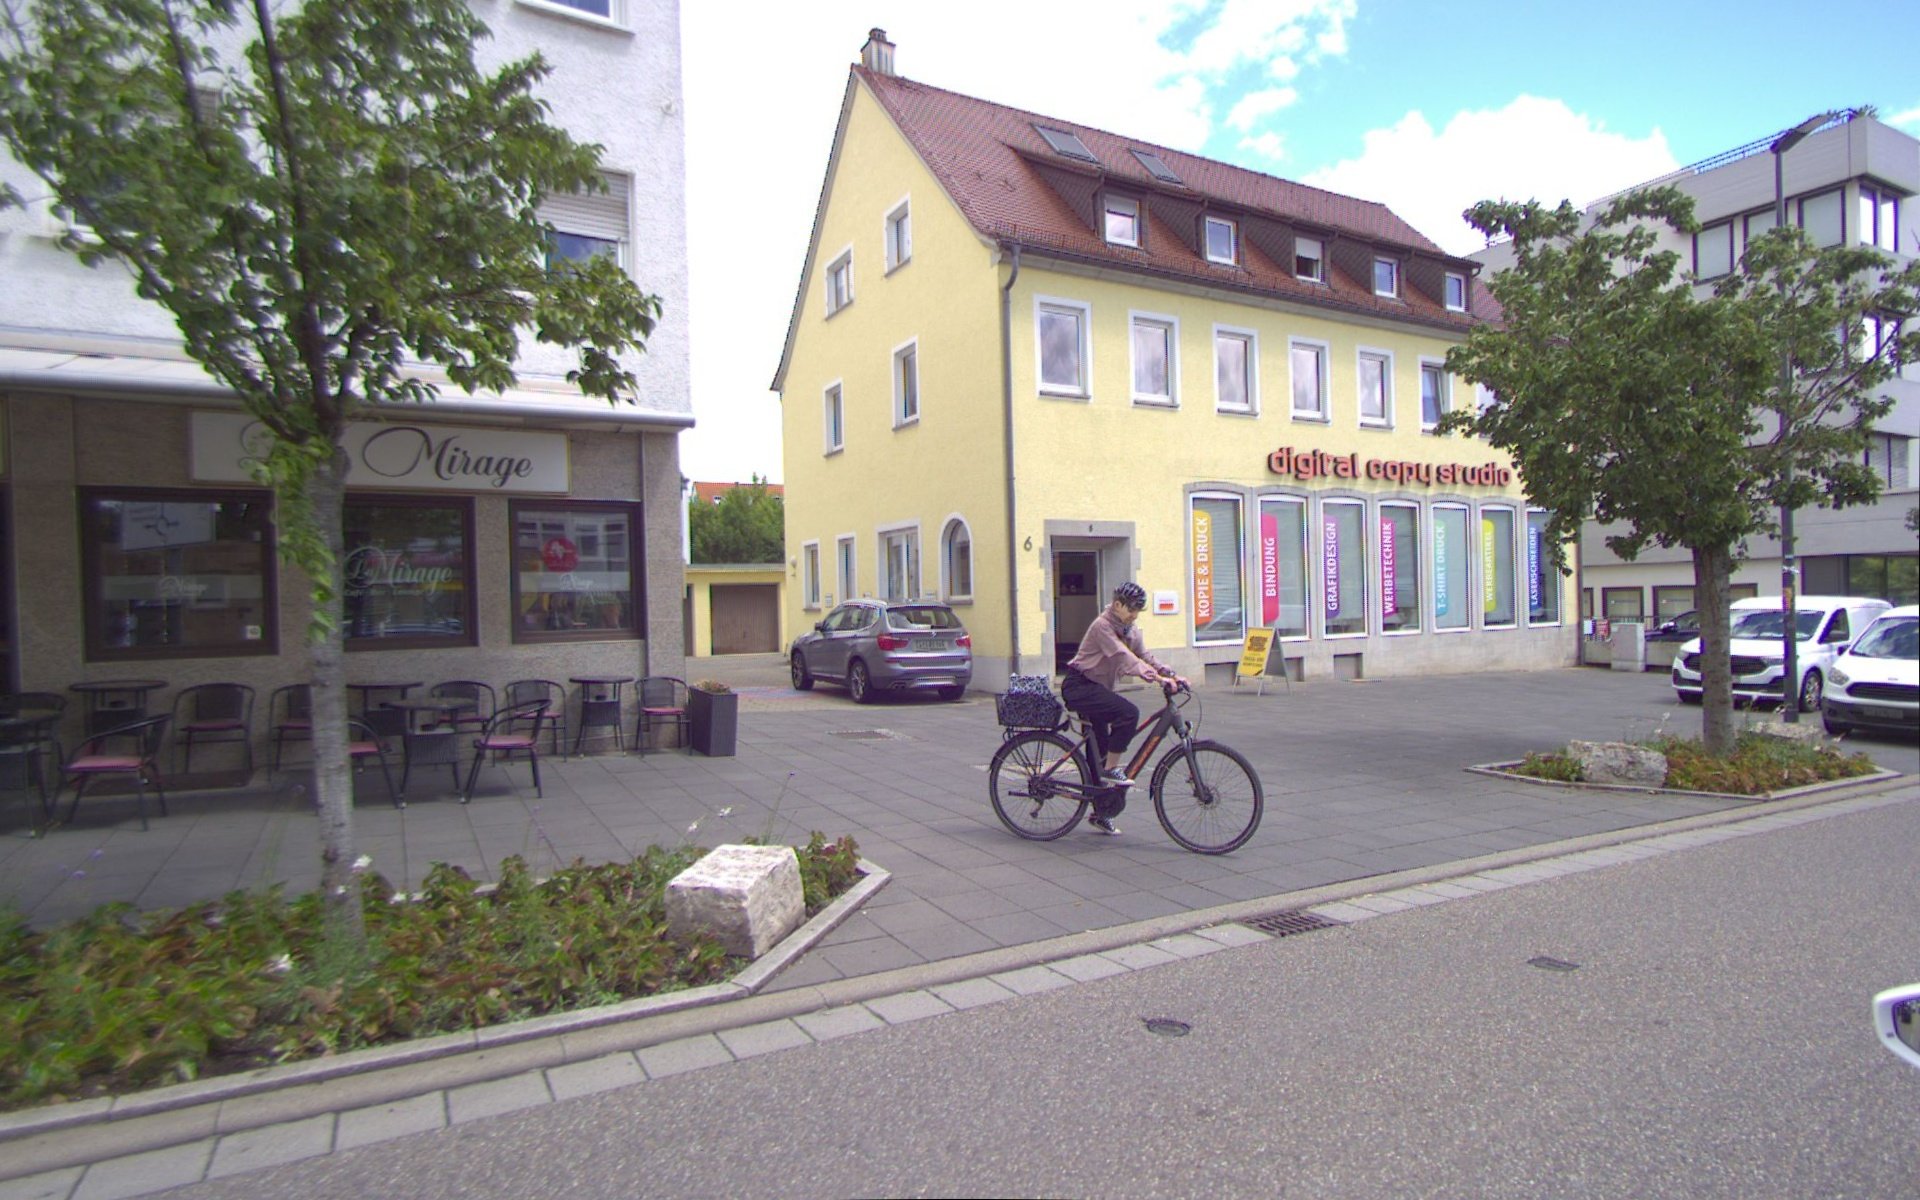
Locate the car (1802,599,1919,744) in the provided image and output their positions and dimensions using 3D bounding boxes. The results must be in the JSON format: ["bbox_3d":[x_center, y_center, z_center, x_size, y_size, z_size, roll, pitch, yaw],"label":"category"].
[{"bbox_3d":[12.966,0.866,13.165,4.300,1.694,1.648,1,0,-31],"label":"car"}]

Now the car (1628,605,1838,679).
[{"bbox_3d":[18.171,0.922,23.745,1.651,1.579,3.606,1,0,-33],"label":"car"}]

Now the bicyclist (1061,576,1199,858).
[{"bbox_3d":[1.106,0.725,6.510,0.763,1.717,0.510,-1,-2,24],"label":"bicyclist"}]

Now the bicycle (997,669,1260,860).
[{"bbox_3d":[1.074,1.014,6.503,1.622,1.102,0.413,-1,-2,23],"label":"bicycle"}]

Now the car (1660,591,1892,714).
[{"bbox_3d":[13.886,0.809,17.024,4.428,1.838,1.746,1,1,-33],"label":"car"}]

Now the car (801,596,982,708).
[{"bbox_3d":[-1.263,0.786,17.053,1.712,1.672,3.510,0,0,-30],"label":"car"}]
